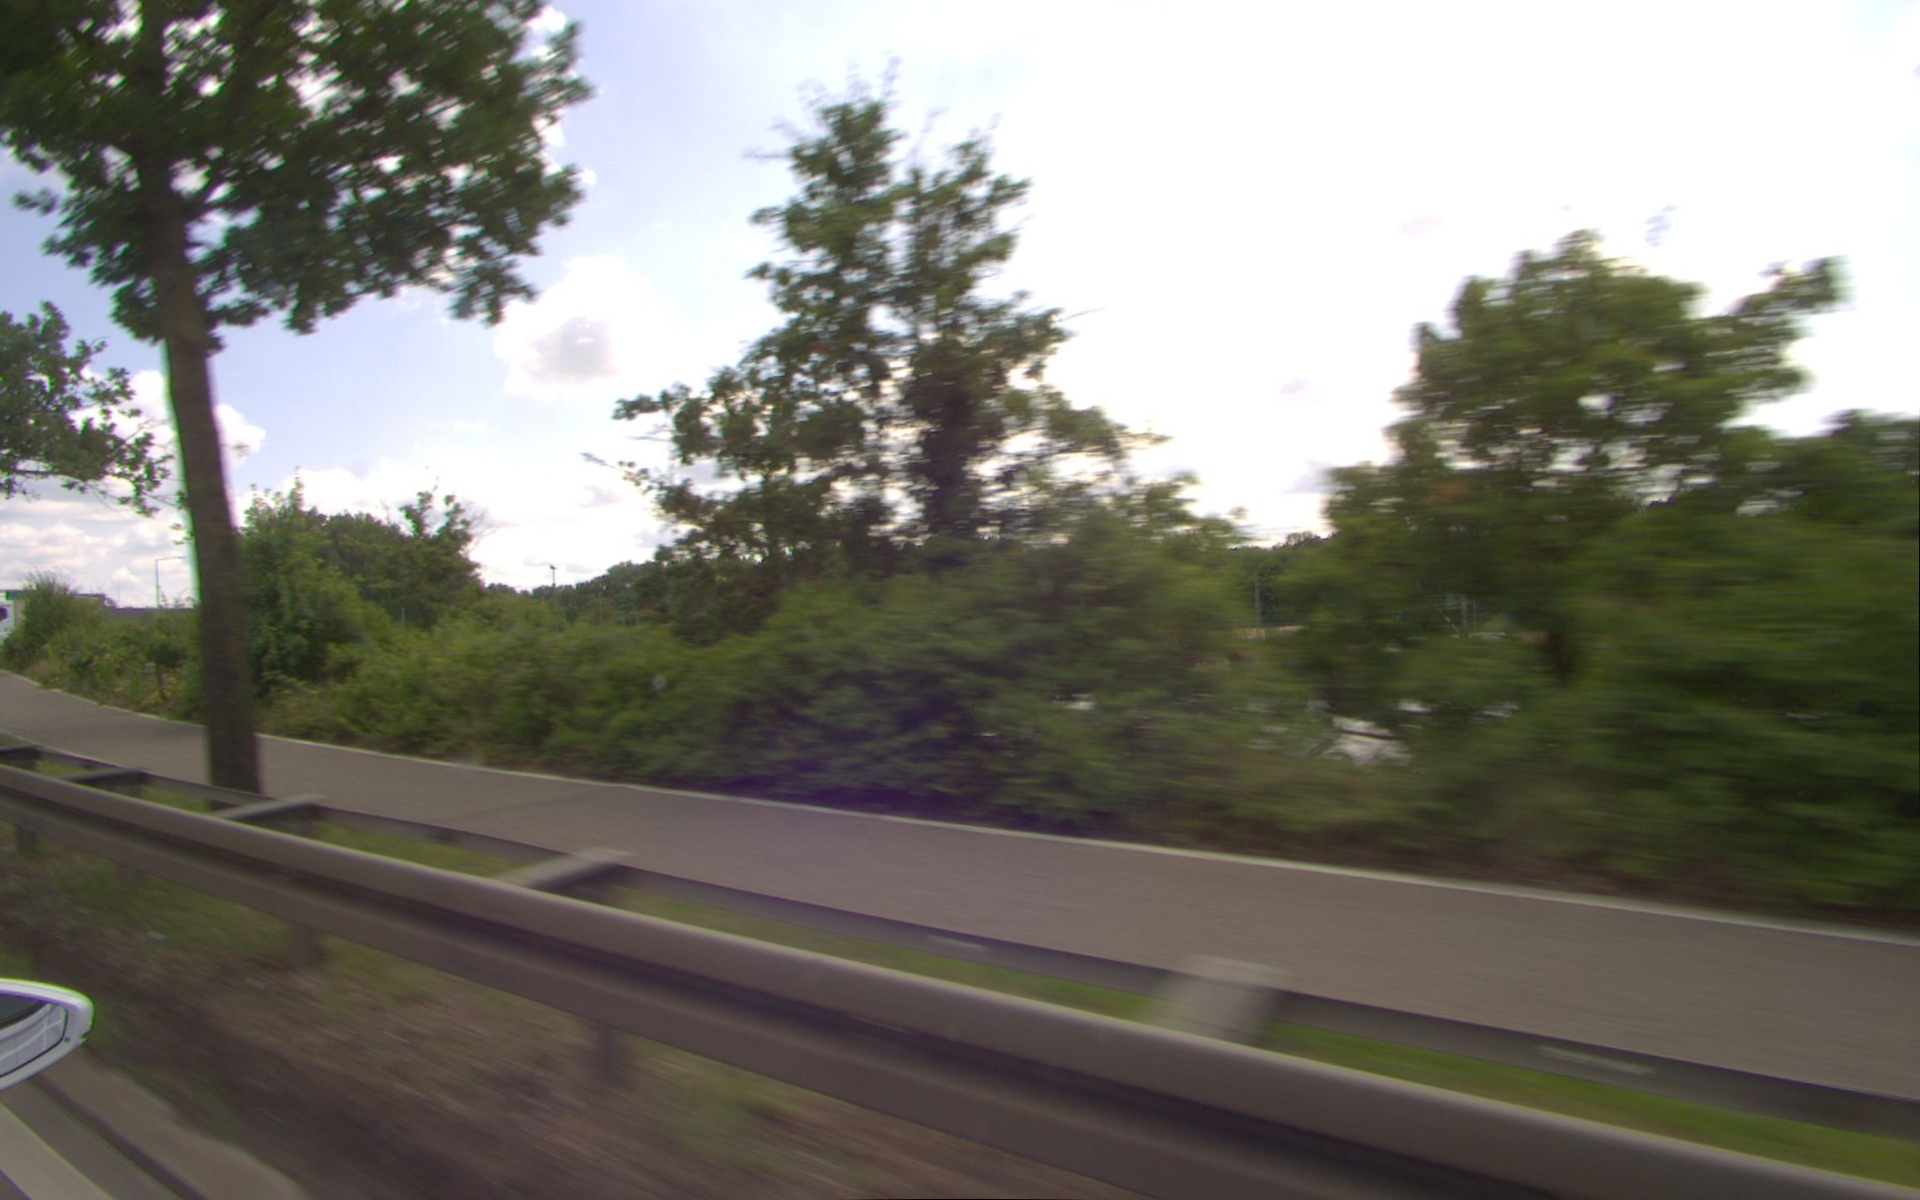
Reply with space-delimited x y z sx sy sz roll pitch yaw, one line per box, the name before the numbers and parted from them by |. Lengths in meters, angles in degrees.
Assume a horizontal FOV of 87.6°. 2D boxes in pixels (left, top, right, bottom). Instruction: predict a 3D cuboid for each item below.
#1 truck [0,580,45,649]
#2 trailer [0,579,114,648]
truck | -60.766 0.922 63.206 2.725 4.188 5.635 0 -1 -23
trailer | -63.724 1.036 70.177 2.671 4.335 14.189 0 -1 -23
